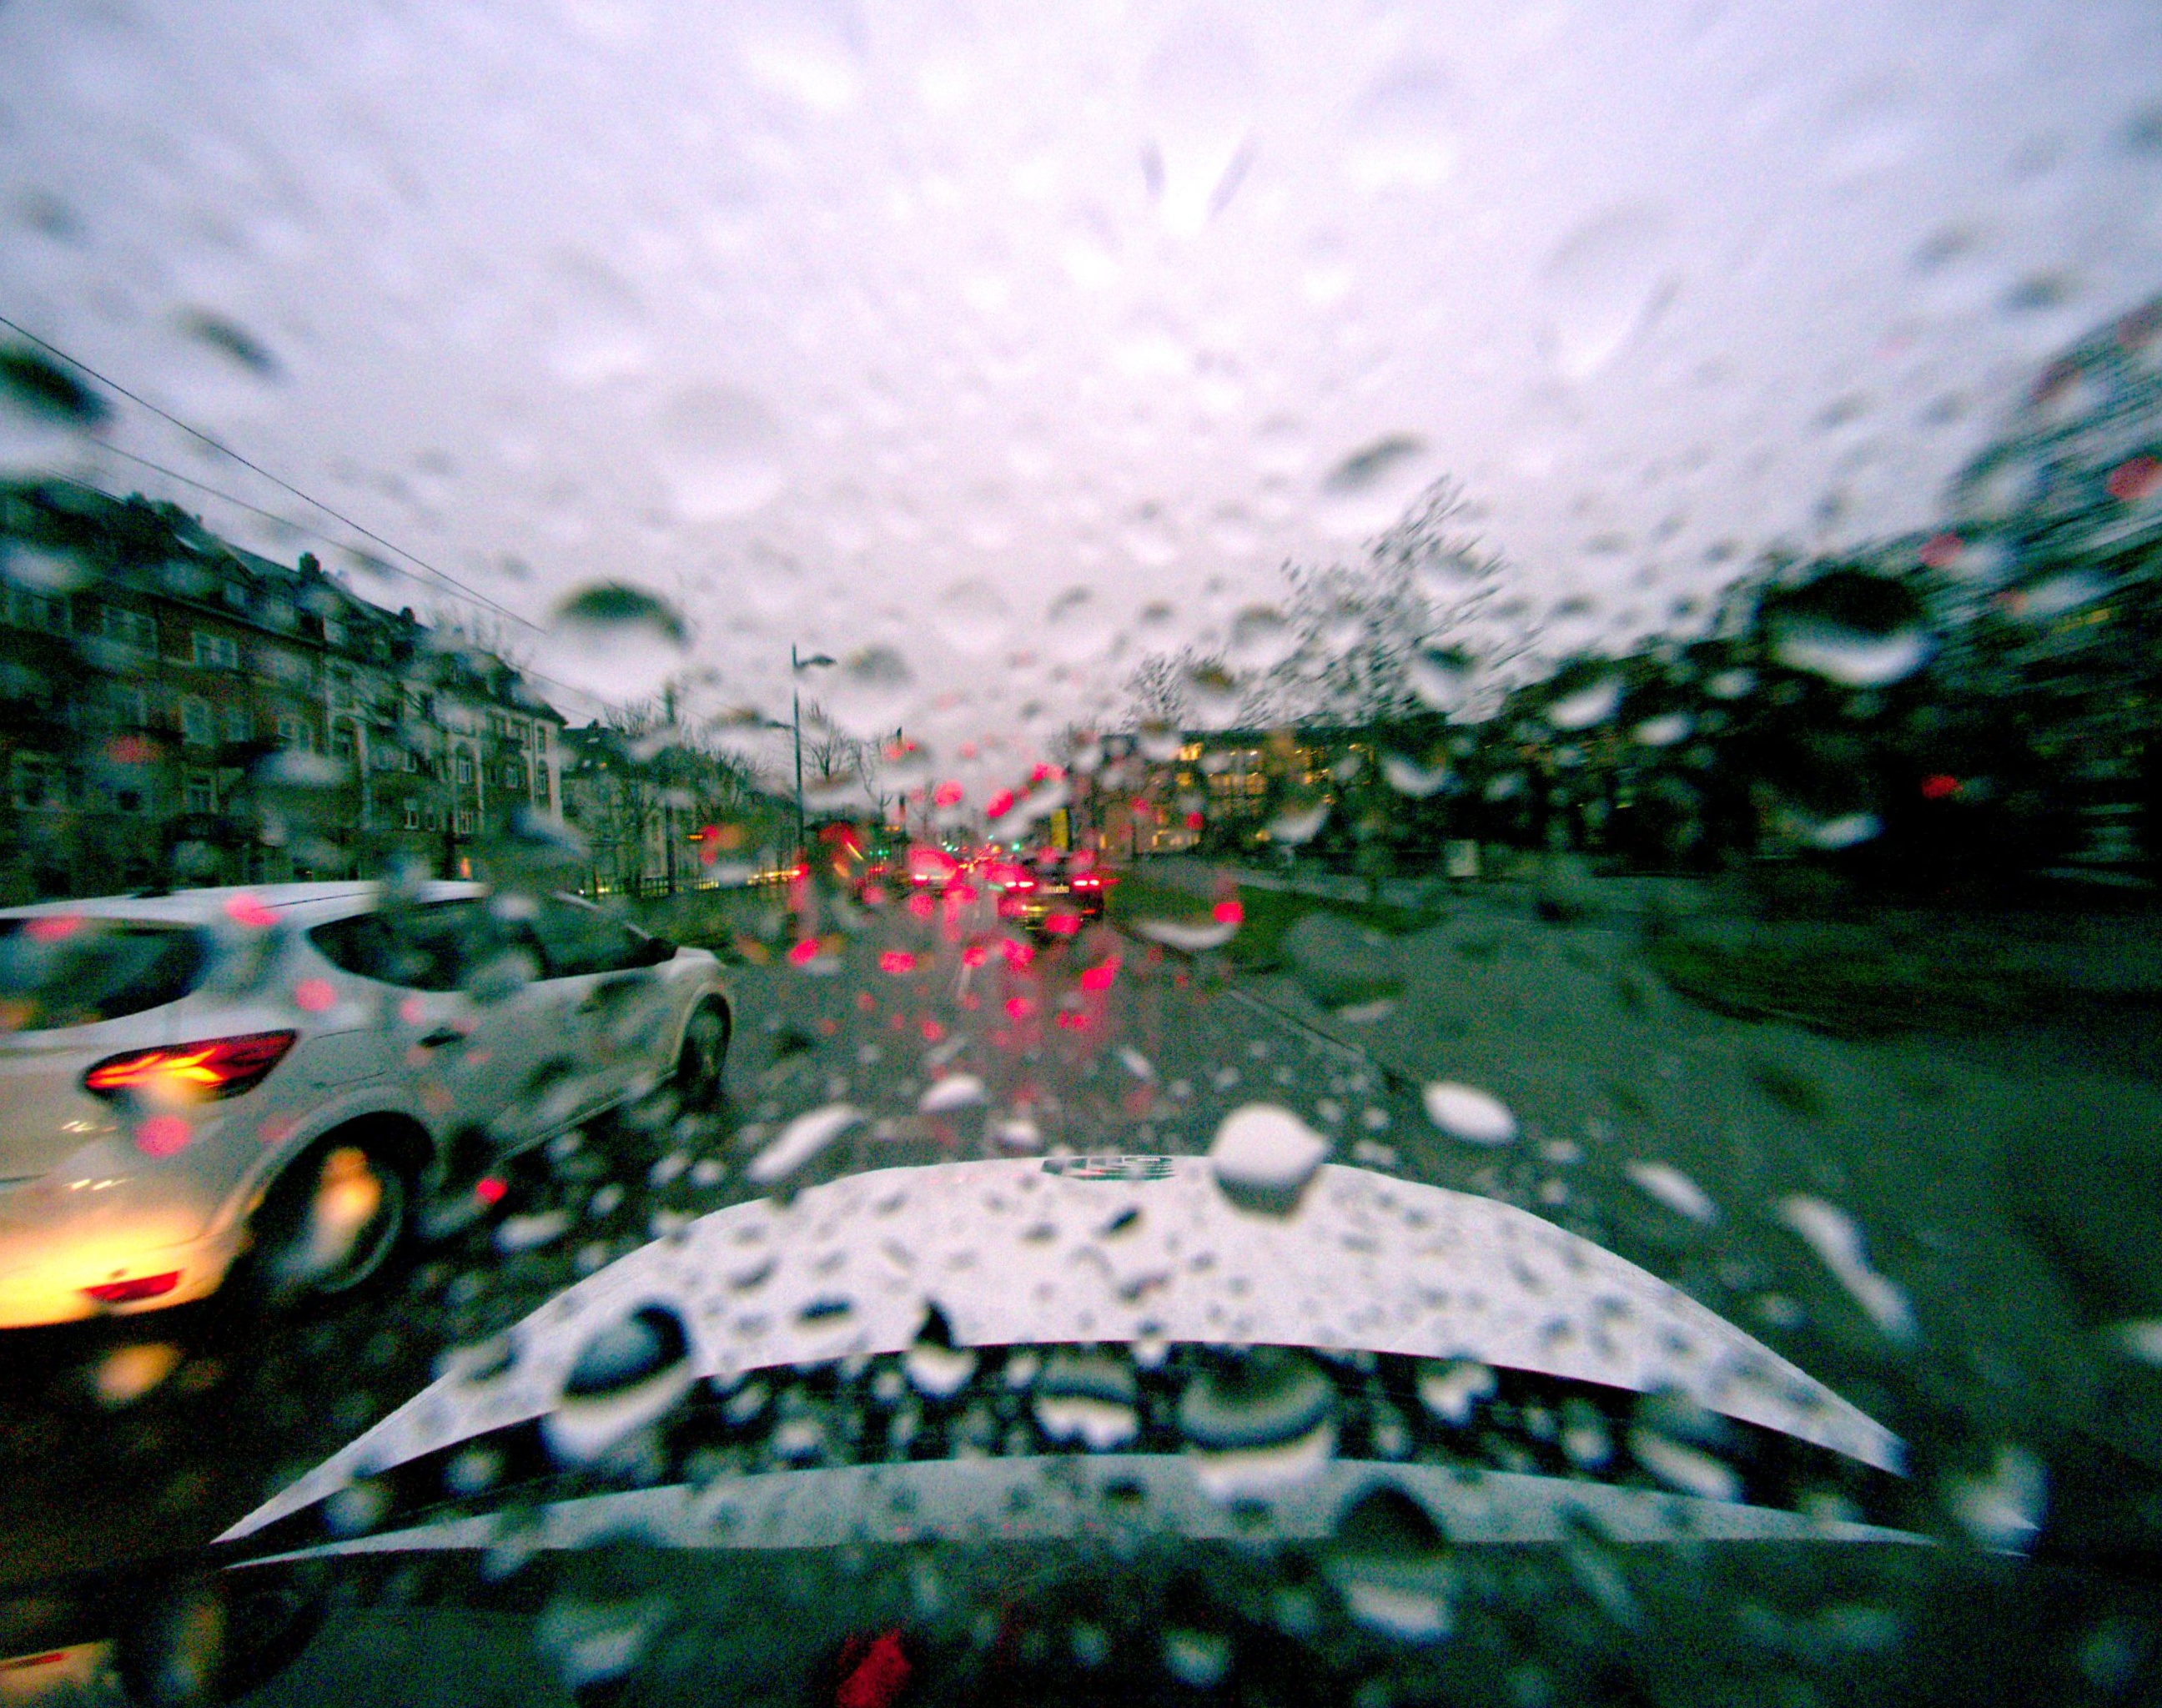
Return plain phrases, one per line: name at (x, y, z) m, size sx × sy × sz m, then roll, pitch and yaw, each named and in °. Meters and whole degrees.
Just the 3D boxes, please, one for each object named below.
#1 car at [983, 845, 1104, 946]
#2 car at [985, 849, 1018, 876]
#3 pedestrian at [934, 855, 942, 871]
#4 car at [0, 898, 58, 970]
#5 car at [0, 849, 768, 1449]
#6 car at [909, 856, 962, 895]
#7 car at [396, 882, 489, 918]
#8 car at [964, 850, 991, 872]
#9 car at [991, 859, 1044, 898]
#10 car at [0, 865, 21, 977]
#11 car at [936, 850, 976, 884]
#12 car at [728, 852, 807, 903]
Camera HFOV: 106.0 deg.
car at (-0.823, 0.694, 15.933) m, size 1.988 × 1.616 × 3.992 m, roll -3°, pitch 0°, yaw -6°
car at (-5.318, 0.553, 54.034) m, size 1.992 × 1.618 × 3.990 m, roll -3°, pitch 0°, yaw -7°
pedestrian at (-13.877, 0.845, 79.125) m, size 0.698 × 1.552 × 0.667 m, roll -3°, pitch 0°, yaw -7°
car at (-19.712, 1.493, 13.520) m, size 1.535 × 1.208 × 3.186 m, roll -4°, pitch 1°, yaw -7°
car at (-3.225, 0.781, 4.089) m, size 1.620 × 1.487 × 4.001 m, roll -3°, pitch 1°, yaw 1°
car at (-5.999, 0.852, 33.853) m, size 1.993 × 1.398 × 3.988 m, roll -3°, pitch 0°, yaw -9°
car at (-26.128, 1.850, 33.447) m, size 1.535 × 1.208 × 3.186 m, roll -3°, pitch 1°, yaw -7°
car at (-8.322, 0.546, 65.511) m, size 1.992 × 1.618 × 3.990 m, roll -3°, pitch 0°, yaw -7°
car at (-2.761, 1.005, 34.656) m, size 1.992 × 1.408 × 3.990 m, roll -3°, pitch 0°, yaw -7°
car at (-23.020, 1.437, 14.362) m, size 1.992 × 2.309 × 5.253 m, roll -3°, pitch 0°, yaw -7°
car at (-7.018, 0.694, 45.995) m, size 1.992 × 1.765 × 3.990 m, roll -3°, pitch 0°, yaw -7°
car at (-12.756, 0.907, 33.453) m, size 1.992 × 1.823 × 3.990 m, roll -4°, pitch 0°, yaw -7°
